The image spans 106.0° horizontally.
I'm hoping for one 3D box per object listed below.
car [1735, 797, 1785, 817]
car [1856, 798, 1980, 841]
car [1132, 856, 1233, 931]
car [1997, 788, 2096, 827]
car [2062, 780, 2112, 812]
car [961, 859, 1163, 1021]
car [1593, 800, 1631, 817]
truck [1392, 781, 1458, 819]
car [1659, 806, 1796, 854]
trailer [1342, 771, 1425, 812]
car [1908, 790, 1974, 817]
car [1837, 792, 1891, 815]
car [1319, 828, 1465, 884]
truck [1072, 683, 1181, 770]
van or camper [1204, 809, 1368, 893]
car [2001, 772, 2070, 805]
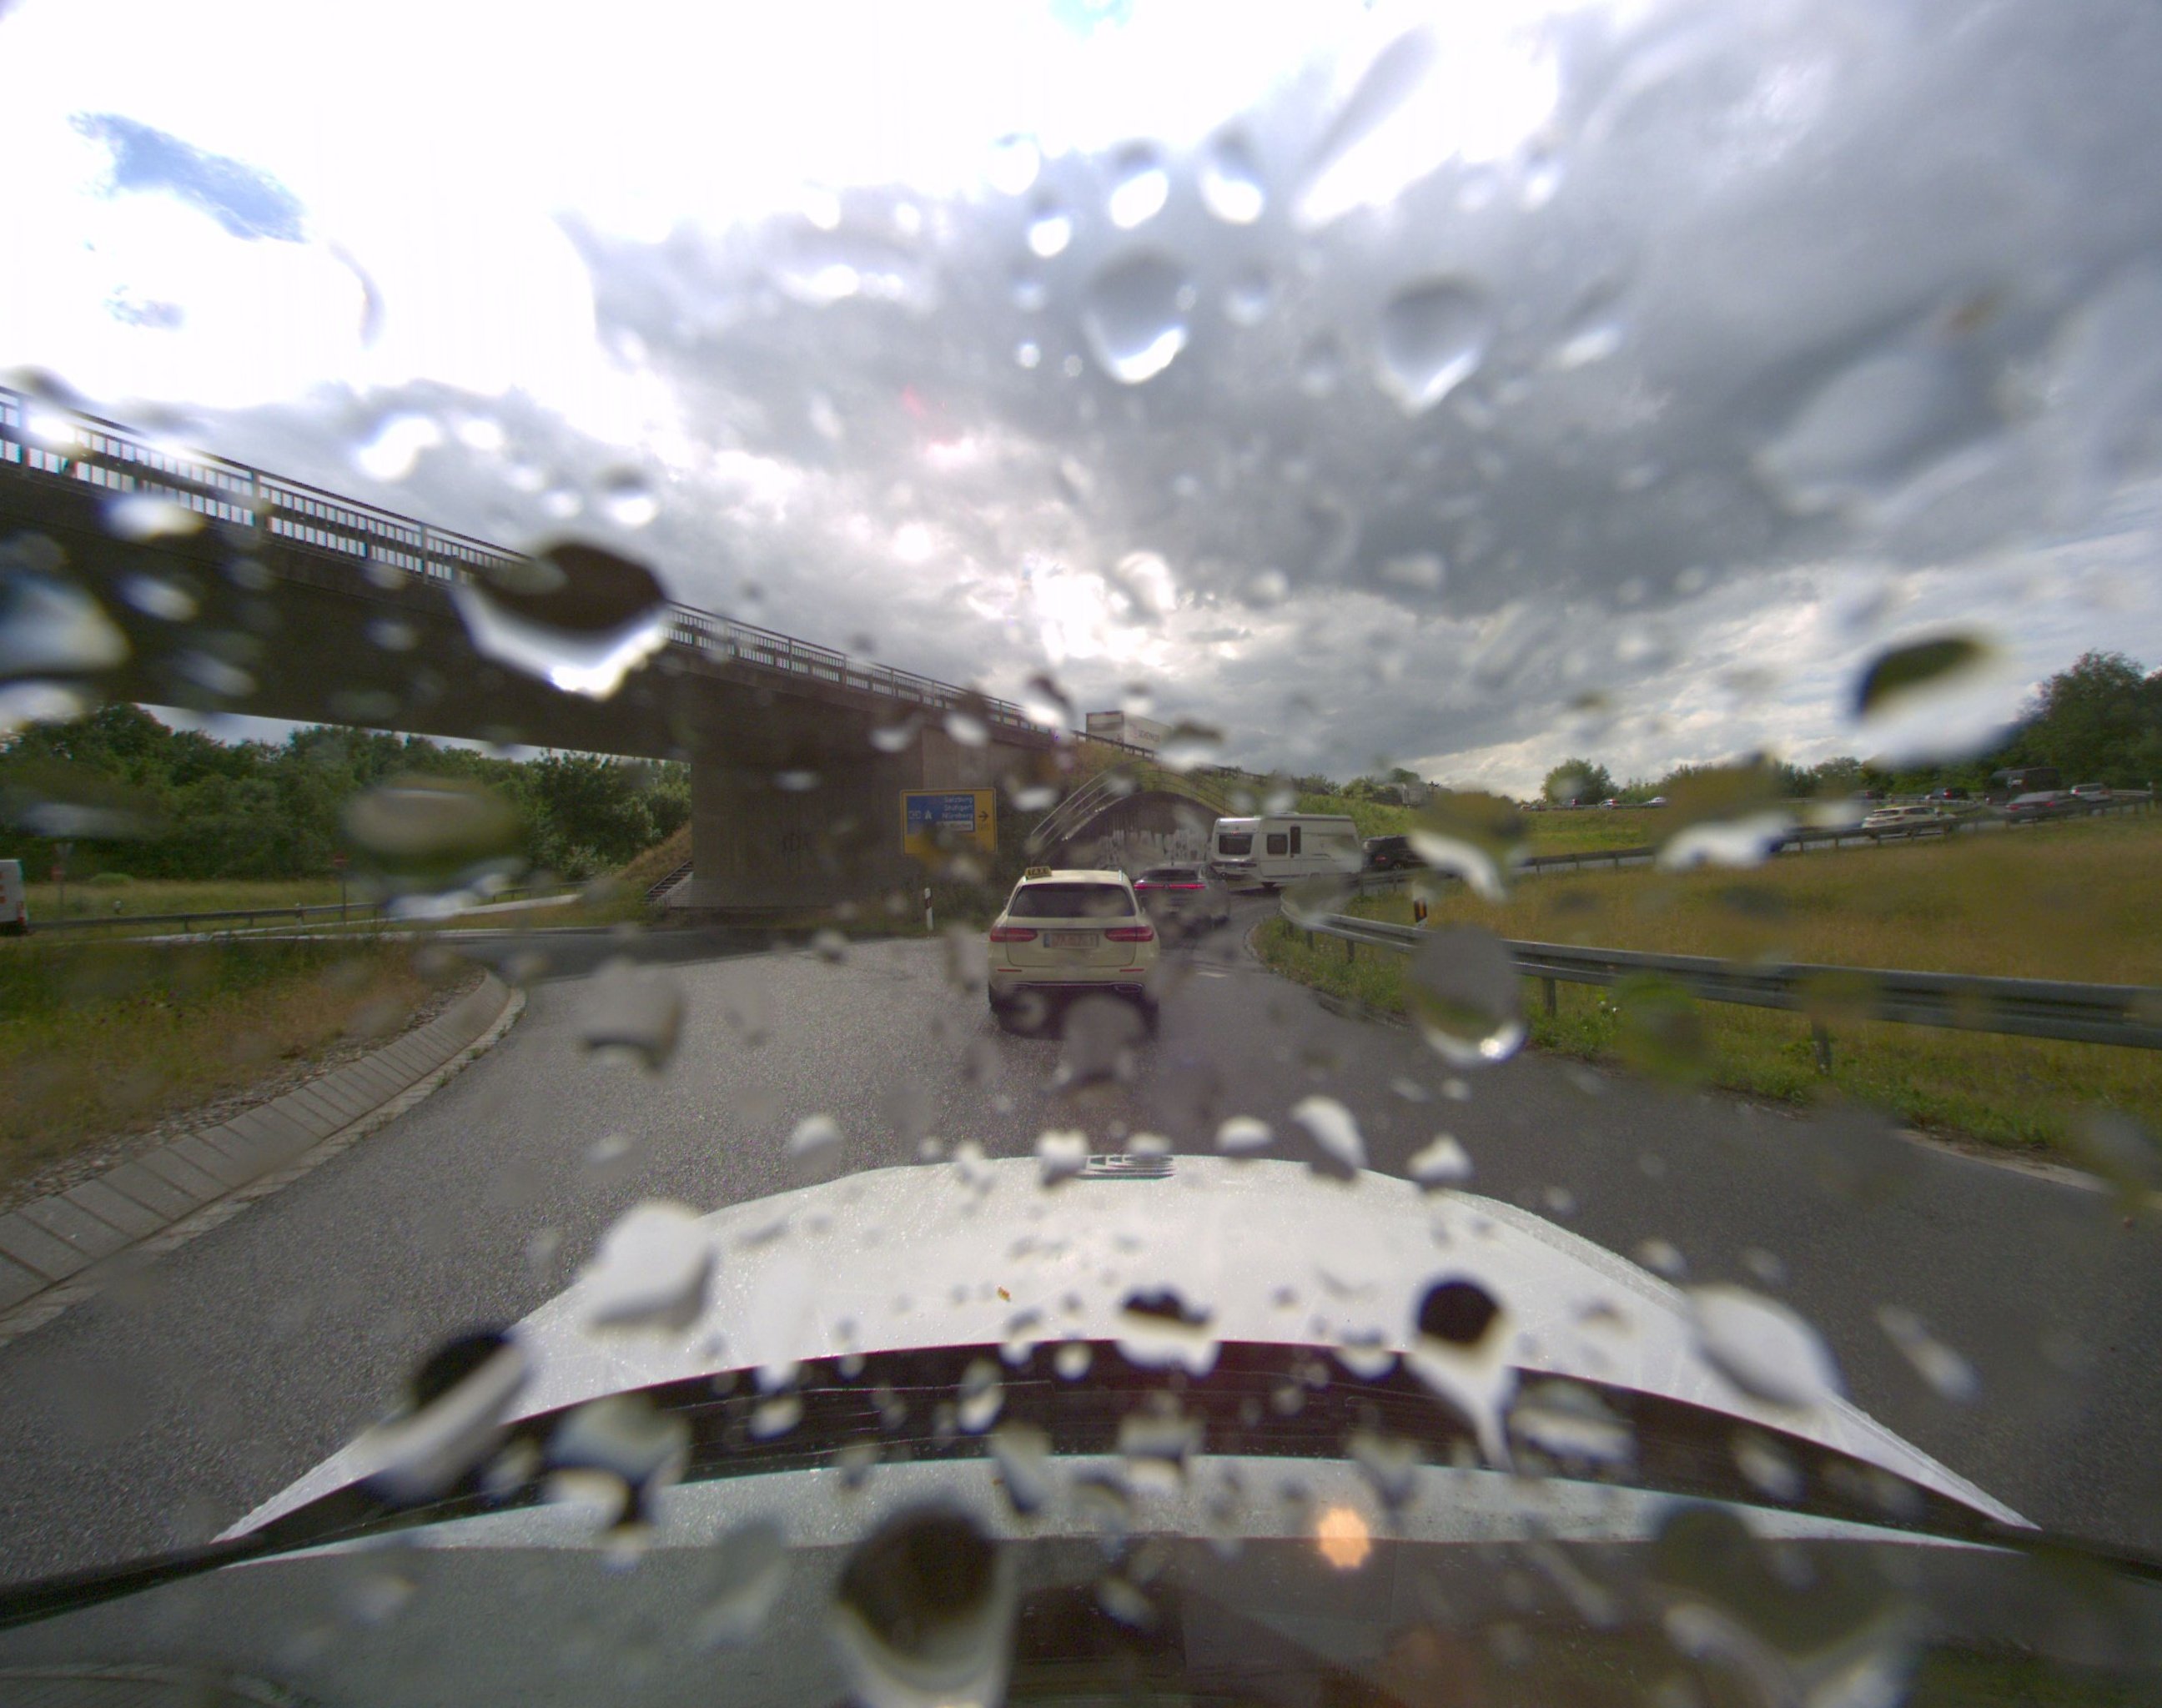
[{"bbox_3d":[76.757,-5.249,92.152,1.993,2.014,3.987,0,-1,-9],"label":"car"},{"bbox_3d":[40.800,-1.682,39.725,5.050,1.861,1.990,-2,0,-15],"label":"car"},{"bbox_3d":[2.451,0.843,18.817,1.705,1.525,4.016,-1,-1,16],"label":"car"},{"bbox_3d":[50.549,-2.437,42.634,5.064,1.861,1.984,-2,0,-24],"label":"car"},{"bbox_3d":[62.534,-3.564,50.675,5.085,1.784,1.646,-2,0,-41],"label":"car"},{"bbox_3d":[-0.005,0.858,10.059,1.907,1.507,4.601,-1,-1,4],"label":"car"},{"bbox_3d":[73.697,-6.280,113.077,2.000,2.014,3.974,-2,-1,-19],"label":"car"},{"bbox_3d":[52.563,-8.048,123.801,4.417,4.503,19.499,-1,-1,38],"label":"truck"},{"bbox_3d":[28.059,-1.039,35.377,5.048,1.861,1.990,-2,0,-14],"label":"car"},{"bbox_3d":[40.558,-8.120,108.248,4.370,3.956,20.346,-1,-1,38],"label":"trailer"},{"bbox_3d":[73.861,-4.304,70.034,1.980,2.013,4.014,-2,0,13],"label":"car"},{"bbox_3d":[77.252,-4.958,80.450,1.981,2.013,4.013,-2,1,11],"label":"car"},{"bbox_3d":[12.461,0.016,32.502,5.780,1.925,2.412,-3,2,-32],"label":"car"},{"bbox_3d":[3.119,-7.816,51.491,3.150,3.966,9.293,-1,-1,29],"label":"truck"},{"bbox_3d":[7.407,-0.198,29.079,6.029,2.729,2.411,-2,2,-37],"label":"van or camper"},{"bbox_3d":[69.813,-4.768,59.639,1.974,2.014,4.025,-1,-1,30],"label":"car"}]
